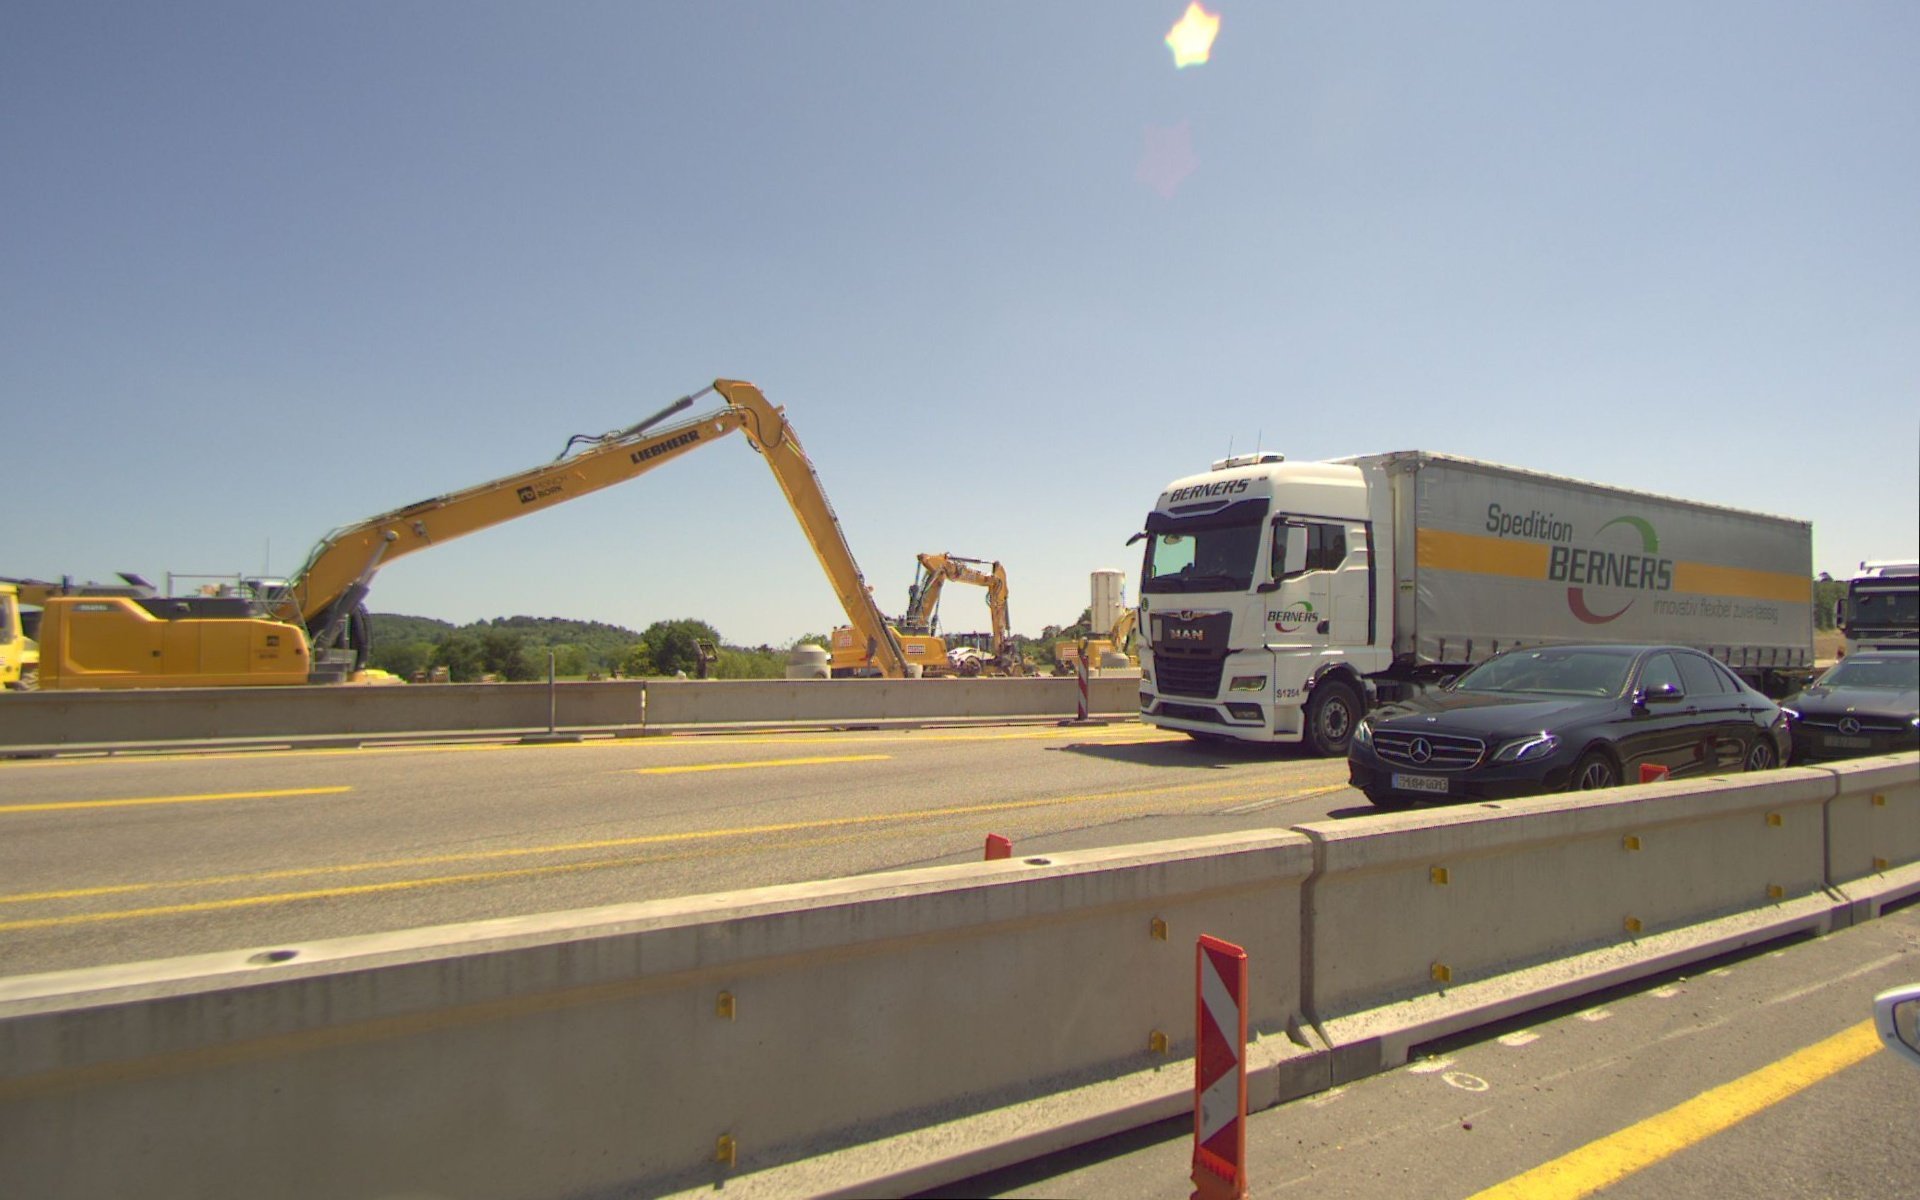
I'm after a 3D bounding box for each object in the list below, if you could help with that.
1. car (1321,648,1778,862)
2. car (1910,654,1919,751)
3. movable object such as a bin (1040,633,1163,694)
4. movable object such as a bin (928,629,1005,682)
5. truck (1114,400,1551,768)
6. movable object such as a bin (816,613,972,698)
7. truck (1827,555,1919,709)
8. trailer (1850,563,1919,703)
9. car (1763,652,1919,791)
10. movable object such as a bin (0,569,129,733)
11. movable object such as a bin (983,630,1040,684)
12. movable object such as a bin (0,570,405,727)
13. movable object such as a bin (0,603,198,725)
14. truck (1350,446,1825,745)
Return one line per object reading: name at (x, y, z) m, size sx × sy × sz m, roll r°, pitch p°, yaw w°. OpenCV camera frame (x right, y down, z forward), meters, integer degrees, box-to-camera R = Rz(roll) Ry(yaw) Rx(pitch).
car at (5.158, 1.138, 8.665) m, size 4.083 × 1.426 × 1.717 m, roll 2°, pitch -2°, yaw -32°
car at (16.843, 1.601, 16.036) m, size 4.510 × 1.463 × 1.666 m, roll 2°, pitch -3°, yaw -36°
movable object such as a bin at (7.962, 3.552, 56.346) m, size 5.969 × 3.089 × 3.809 m, roll 0°, pitch -4°, yaw -42°
movable object such as a bin at (0.495, 3.555, 65.396) m, size 2.388 × 3.168 × 5.466 m, roll 2°, pitch 0°, yaw 33°
truck at (5.483, -0.080, 14.565) m, size 6.130 × 4.315 × 2.756 m, roll 1°, pitch -3°, yaw -32°
movable object such as a bin at (-2.608, 2.169, 39.837) m, size 4.948 × 3.065 × 3.638 m, roll 0°, pitch -3°, yaw -38°
truck at (27.248, 0.934, 28.730) m, size 6.148 × 4.021 × 2.678 m, roll 2°, pitch -3°, yaw -40°
trailer at (31.679, 1.094, 32.489) m, size 11.153 × 4.030 × 2.682 m, roll 2°, pitch -3°, yaw -40°
car at (11.855, 1.404, 12.579) m, size 4.204 × 1.472 × 1.646 m, roll 2°, pitch -2°, yaw -34°
movable object such as a bin at (-18.176, 0.873, 18.134) m, size 2.767 × 2.800 × 6.046 m, roll 1°, pitch -1°, yaw -18°
movable object such as a bin at (3.290, 3.541, 63.617) m, size 1.966 × 3.168 × 3.746 m, roll 2°, pitch 0°, yaw 33°
movable object such as a bin at (-13.420, 0.847, 18.497) m, size 5.368 × 2.472 × 3.281 m, roll 1°, pitch -2°, yaw -26°
movable object such as a bin at (-26.011, 1.785, 29.604) m, size 5.511 × 3.299 × 3.763 m, roll 1°, pitch -1°, yaw -40°
truck at (12.221, 0.106, 18.855) m, size 11.650 × 4.333 × 2.759 m, roll 1°, pitch -3°, yaw -33°
